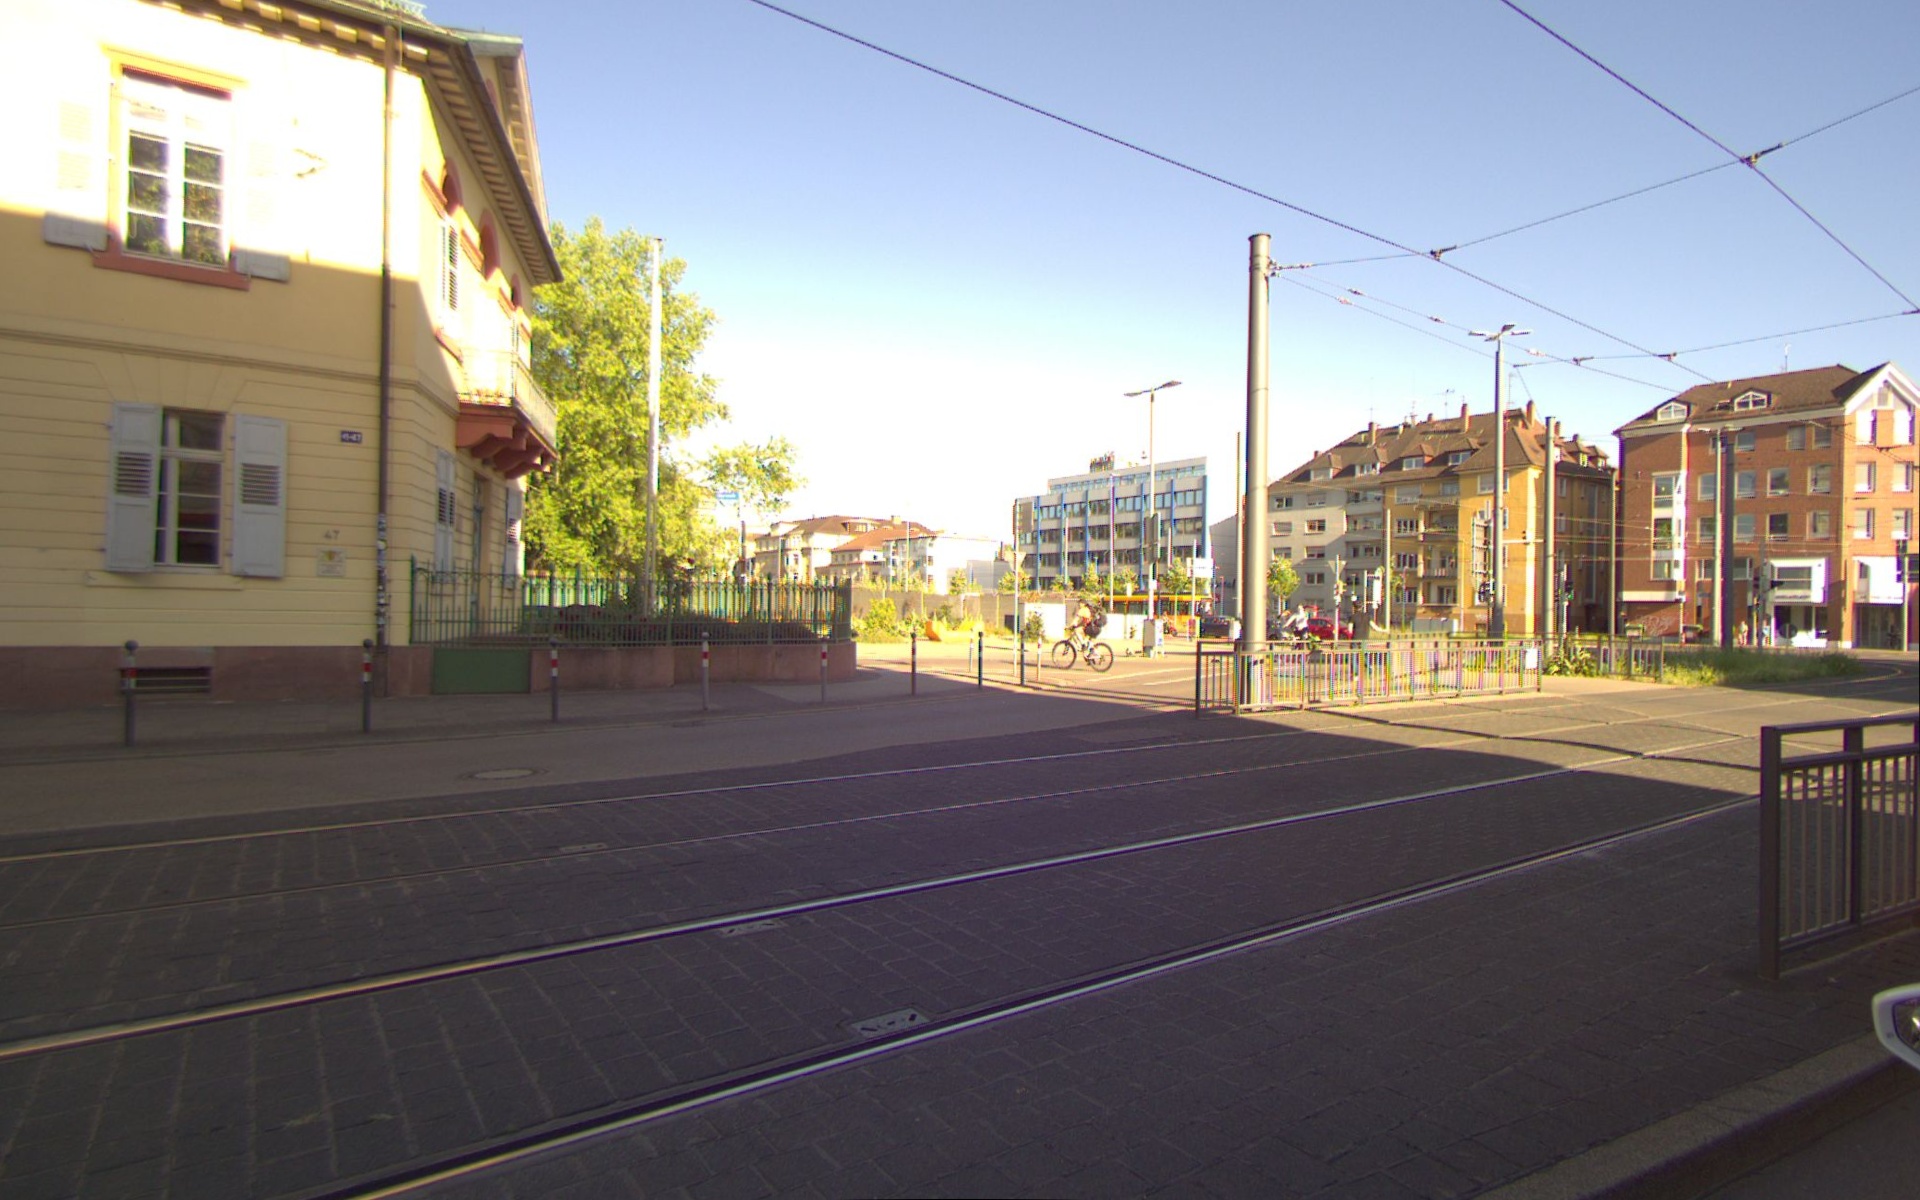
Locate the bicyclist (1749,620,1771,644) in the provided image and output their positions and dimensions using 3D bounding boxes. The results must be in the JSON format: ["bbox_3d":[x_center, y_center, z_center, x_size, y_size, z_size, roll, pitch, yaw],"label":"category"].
[{"bbox_3d":[50.314,2.001,63.149,0.958,1.490,0.702,1,0,-22],"label":"bicyclist"}]

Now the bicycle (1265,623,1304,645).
[{"bbox_3d":[19.177,2.020,59.406,0.542,1.230,2.168,2,0,-41],"label":"bicycle"}]

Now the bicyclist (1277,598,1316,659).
[{"bbox_3d":[9.934,0.840,29.687,0.742,1.783,0.755,2,0,-21],"label":"bicyclist"}]

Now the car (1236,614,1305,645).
[{"bbox_3d":[17.427,1.635,56.521,1.621,1.546,3.846,2,0,-21],"label":"car"}]

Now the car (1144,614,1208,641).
[{"bbox_3d":[14.745,1.872,68.572,1.895,1.708,3.916,2,0,-41],"label":"car"}]

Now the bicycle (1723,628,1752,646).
[{"bbox_3d":[45.572,2.169,58.871,2.220,0.984,0.521,2,0,-31],"label":"bicycle"}]

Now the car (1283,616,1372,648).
[{"bbox_3d":[21.870,1.885,59.899,1.984,1.723,4.545,2,0,-41],"label":"car"}]

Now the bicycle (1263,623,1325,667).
[{"bbox_3d":[9.876,1.326,29.685,1.827,1.238,0.483,2,0,-21],"label":"bicycle"}]

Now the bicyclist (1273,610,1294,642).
[{"bbox_3d":[19.150,1.533,59.454,0.785,1.832,0.892,2,0,-42],"label":"bicyclist"}]

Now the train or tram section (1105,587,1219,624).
[{"bbox_3d":[18.637,0.423,93.527,2.782,3.172,11.139,2,0,-39],"label":"train or tram section"}]

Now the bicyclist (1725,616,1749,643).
[{"bbox_3d":[45.540,1.712,58.893,0.688,1.523,0.894,2,0,-30],"label":"bicyclist"}]

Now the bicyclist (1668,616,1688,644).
[{"bbox_3d":[39.551,1.642,55.349,0.688,1.523,0.630,2,0,-30],"label":"bicyclist"}]

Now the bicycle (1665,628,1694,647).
[{"bbox_3d":[39.750,2.065,55.472,2.220,0.984,0.444,2,0,-31],"label":"bicycle"}]

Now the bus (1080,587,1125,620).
[{"bbox_3d":[14.091,0.316,99.346,2.748,3.172,3.487,2,0,-40],"label":"bus"}]

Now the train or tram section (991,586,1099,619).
[{"bbox_3d":[8.747,0.189,105.994,2.710,3.172,13.562,2,0,-39],"label":"train or tram section"}]

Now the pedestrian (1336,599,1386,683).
[{"bbox_3d":[8.360,0.842,20.970,0.759,1.703,0.592,2,0,0],"label":"pedestrian"}]

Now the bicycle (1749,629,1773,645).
[{"bbox_3d":[50.361,2.339,63.140,1.669,0.994,0.403,2,0,-22],"label":"bicycle"}]

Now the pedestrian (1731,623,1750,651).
[{"bbox_3d":[52.713,2.484,67.833,0.737,1.845,0.781,2,0,-28],"label":"pedestrian"}]

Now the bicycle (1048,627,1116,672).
[{"bbox_3d":[2.961,1.196,24.476,1.572,1.007,0.403,2,0,25],"label":"bicycle"}]

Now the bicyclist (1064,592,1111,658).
[{"bbox_3d":[3.092,0.604,24.425,1.024,1.542,0.391,2,0,26],"label":"bicyclist"}]
